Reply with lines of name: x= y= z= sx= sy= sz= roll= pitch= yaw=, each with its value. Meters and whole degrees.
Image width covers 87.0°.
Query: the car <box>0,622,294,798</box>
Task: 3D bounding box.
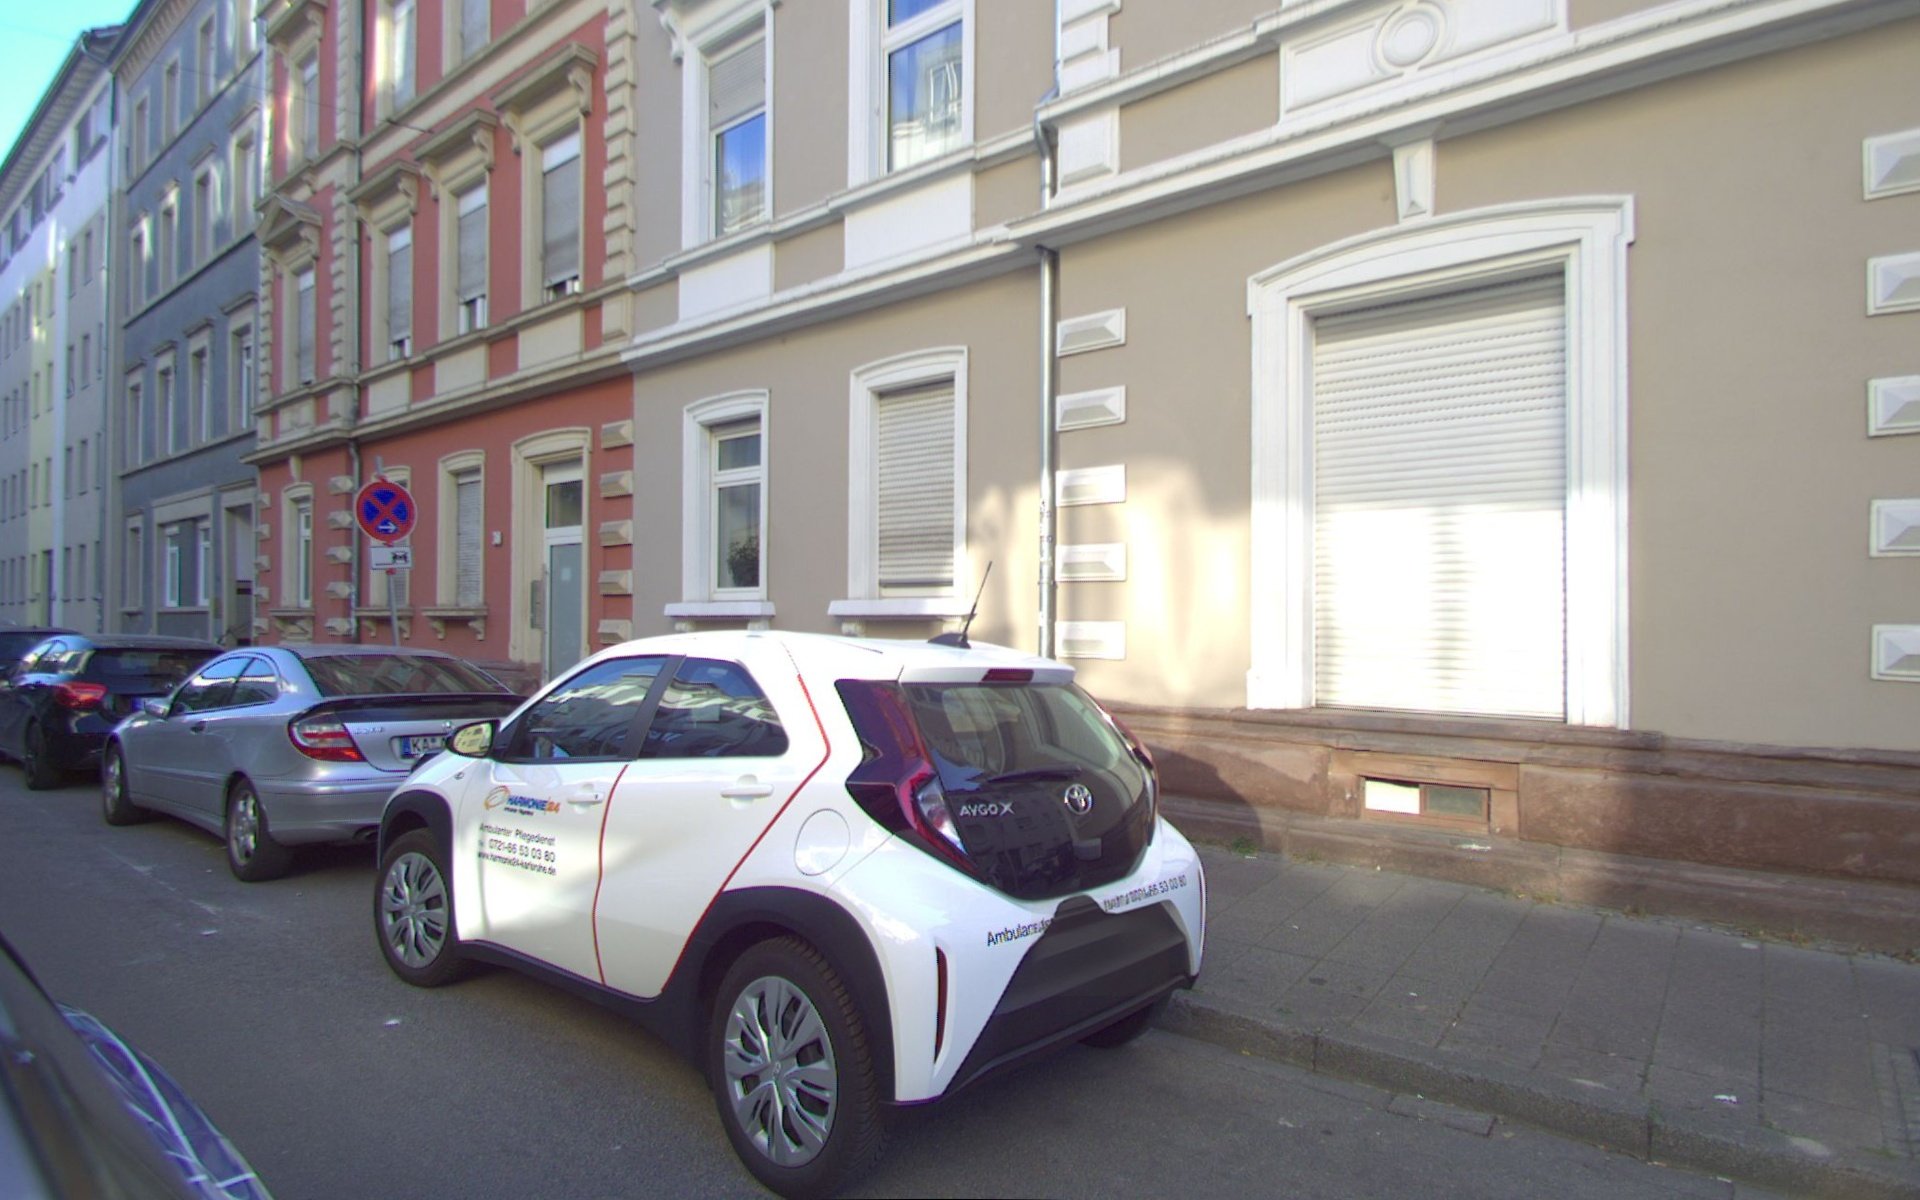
car: x=-8.954 y=1.031 z=10.682 sx=4.261 sy=1.495 sz=1.902 roll=-2 pitch=-4 yaw=38

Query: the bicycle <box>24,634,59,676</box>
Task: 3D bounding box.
bicycle: x=-25.153 y=1.491 z=27.699 sx=1.750 sy=1.082 sz=0.446 roll=-1 pitch=-1 yaw=39

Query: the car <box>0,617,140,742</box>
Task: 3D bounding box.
car: x=-13.566 y=1.078 z=14.474 sx=4.234 sy=1.572 sz=1.883 roll=-2 pitch=-4 yaw=38

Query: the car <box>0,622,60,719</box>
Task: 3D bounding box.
car: x=-17.339 y=1.170 z=17.462 sx=4.261 sy=1.572 sz=1.902 roll=-2 pitch=-4 yaw=38

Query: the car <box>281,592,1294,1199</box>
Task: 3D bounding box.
car: x=-1.032 y=0.843 z=4.276 sx=4.263 sy=1.519 sz=1.901 roll=-2 pitch=-4 yaw=40

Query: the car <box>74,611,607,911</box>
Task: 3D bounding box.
car: x=-4.668 y=0.939 z=7.406 sx=4.261 sy=1.572 sz=1.902 roll=-2 pitch=-4 yaw=38
